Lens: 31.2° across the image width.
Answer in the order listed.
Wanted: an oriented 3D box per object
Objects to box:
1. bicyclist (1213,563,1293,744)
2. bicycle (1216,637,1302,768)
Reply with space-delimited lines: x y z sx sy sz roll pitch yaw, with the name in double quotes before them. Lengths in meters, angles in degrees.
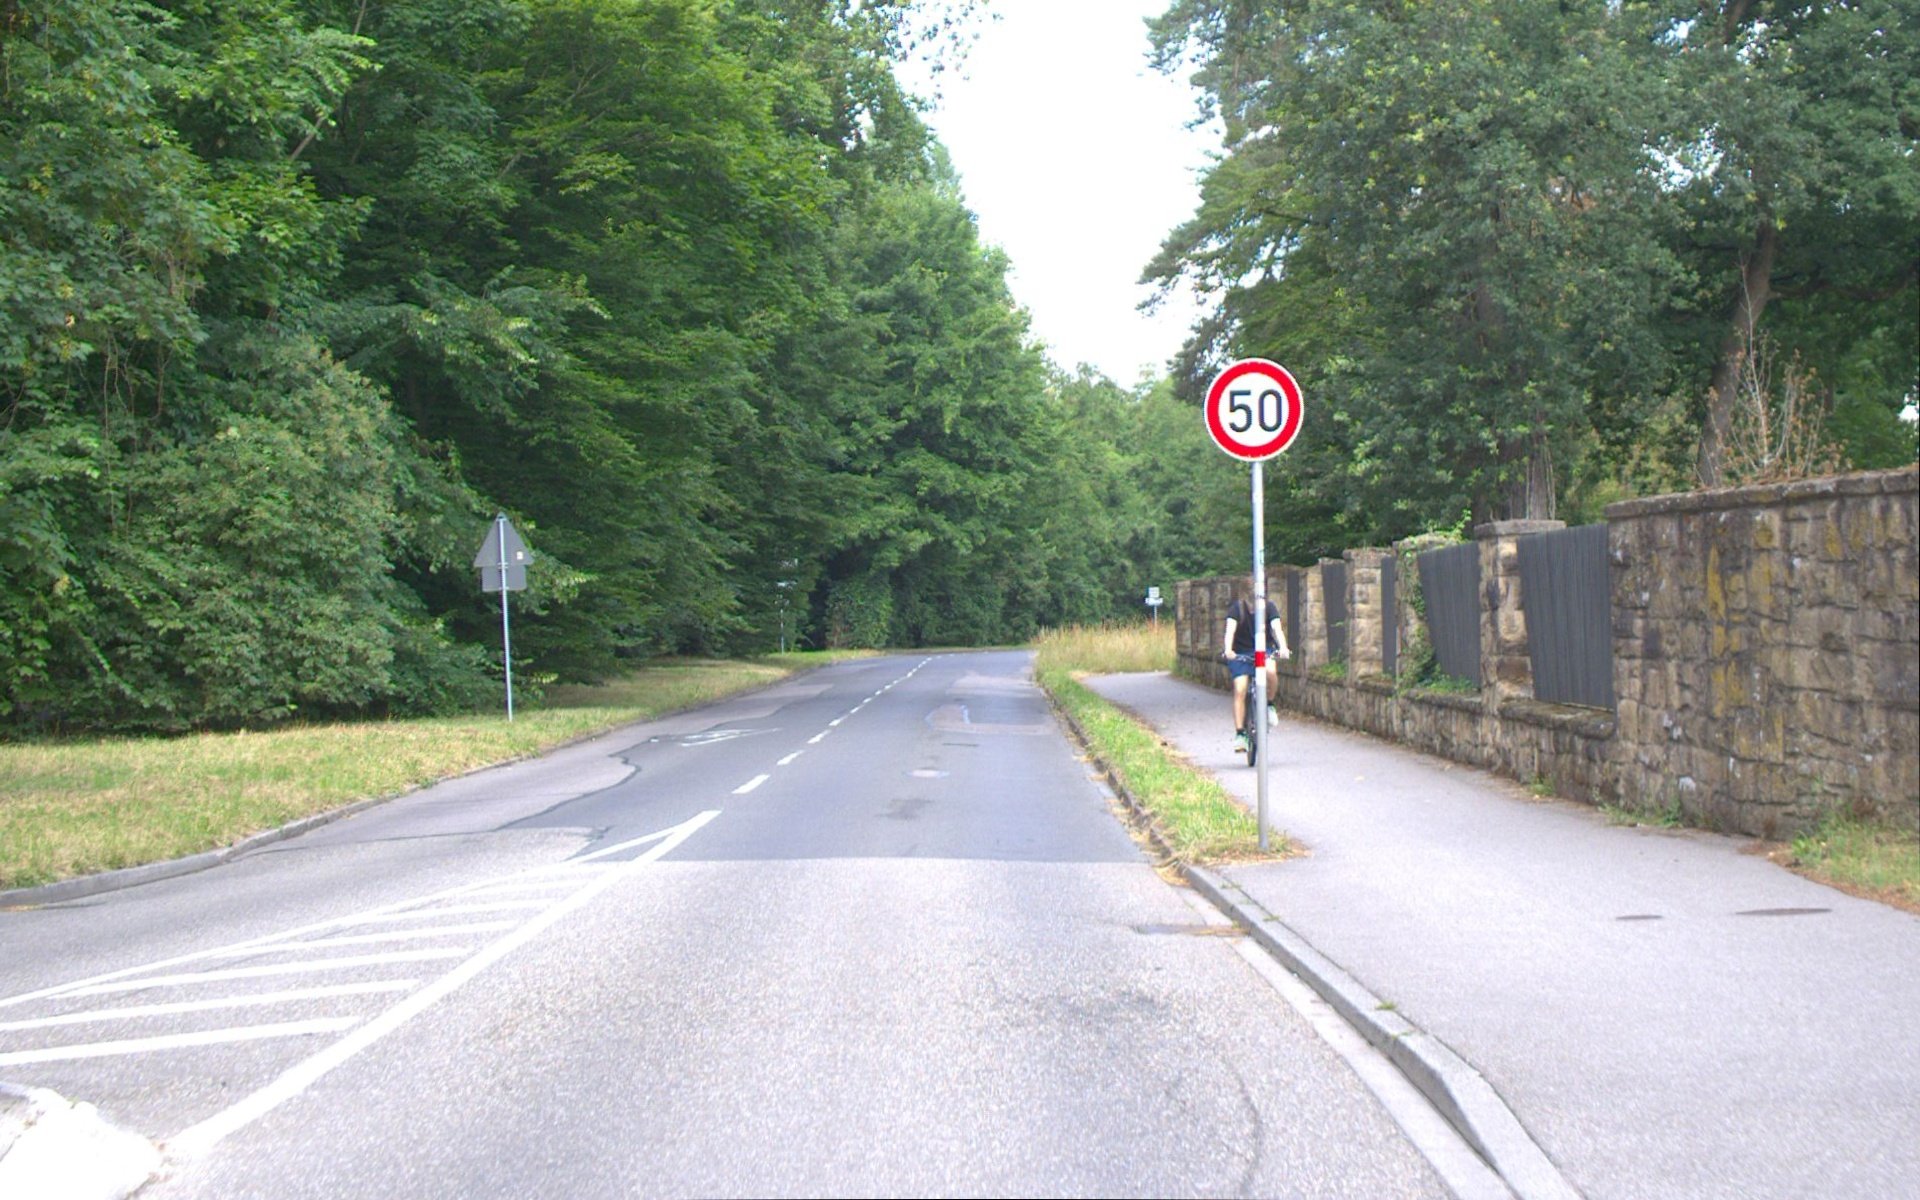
"bicyclist" 2.643 0.469 31.079 0.569 1.582 1.205 -2 0 0
"bicycle" 2.666 0.899 30.777 0.558 1.069 2.157 -2 1 0
